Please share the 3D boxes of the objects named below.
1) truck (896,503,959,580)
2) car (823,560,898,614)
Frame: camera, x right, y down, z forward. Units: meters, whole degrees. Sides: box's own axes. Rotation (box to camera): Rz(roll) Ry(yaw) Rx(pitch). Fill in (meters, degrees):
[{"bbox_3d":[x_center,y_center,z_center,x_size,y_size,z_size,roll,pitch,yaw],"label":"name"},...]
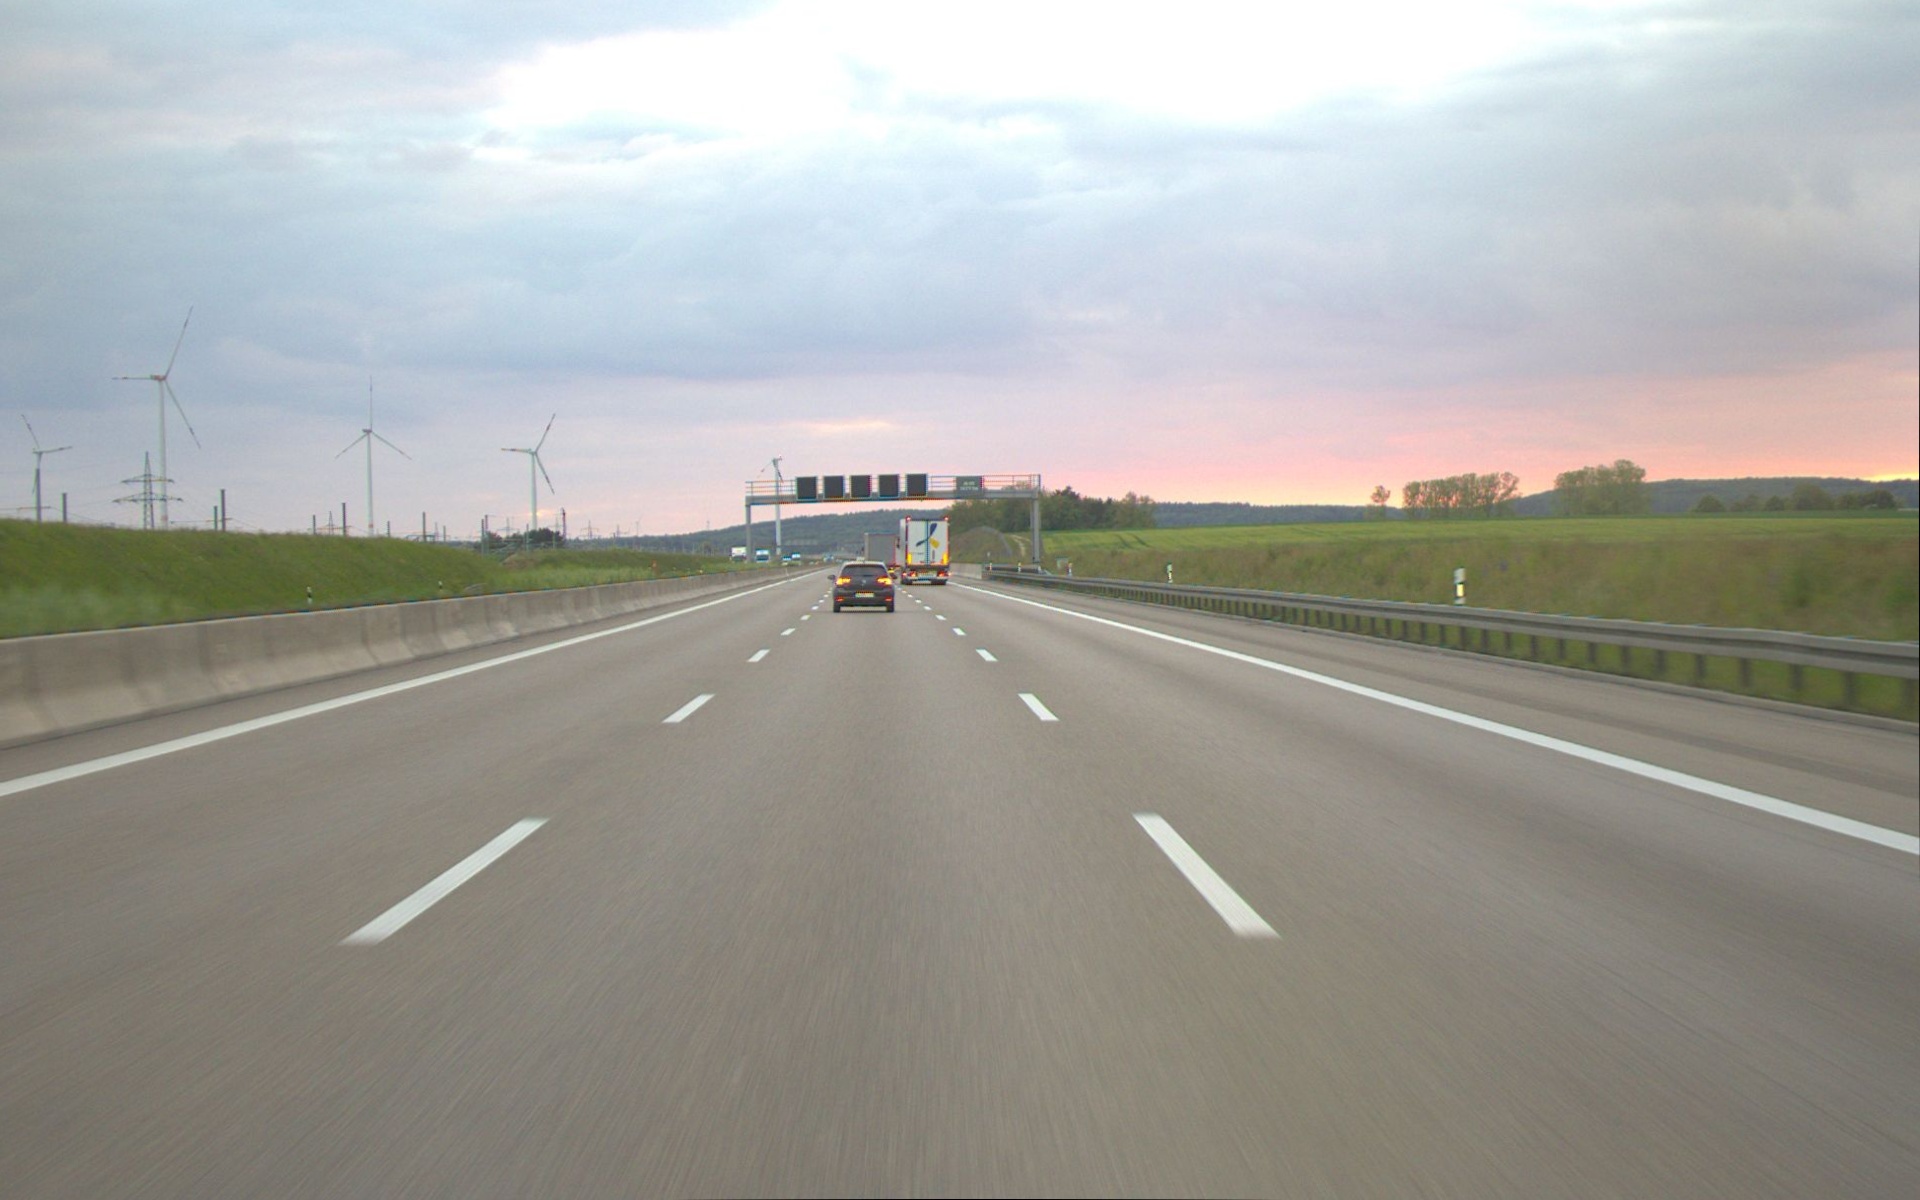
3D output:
[{"bbox_3d":[-2.035,-3.549,208.457,3.675,4.549,10.982,0,1,-1],"label":"truck"},{"bbox_3d":[-2.817,-0.383,97.993,1.987,1.425,4.000,-1,1,0],"label":"car"}]
